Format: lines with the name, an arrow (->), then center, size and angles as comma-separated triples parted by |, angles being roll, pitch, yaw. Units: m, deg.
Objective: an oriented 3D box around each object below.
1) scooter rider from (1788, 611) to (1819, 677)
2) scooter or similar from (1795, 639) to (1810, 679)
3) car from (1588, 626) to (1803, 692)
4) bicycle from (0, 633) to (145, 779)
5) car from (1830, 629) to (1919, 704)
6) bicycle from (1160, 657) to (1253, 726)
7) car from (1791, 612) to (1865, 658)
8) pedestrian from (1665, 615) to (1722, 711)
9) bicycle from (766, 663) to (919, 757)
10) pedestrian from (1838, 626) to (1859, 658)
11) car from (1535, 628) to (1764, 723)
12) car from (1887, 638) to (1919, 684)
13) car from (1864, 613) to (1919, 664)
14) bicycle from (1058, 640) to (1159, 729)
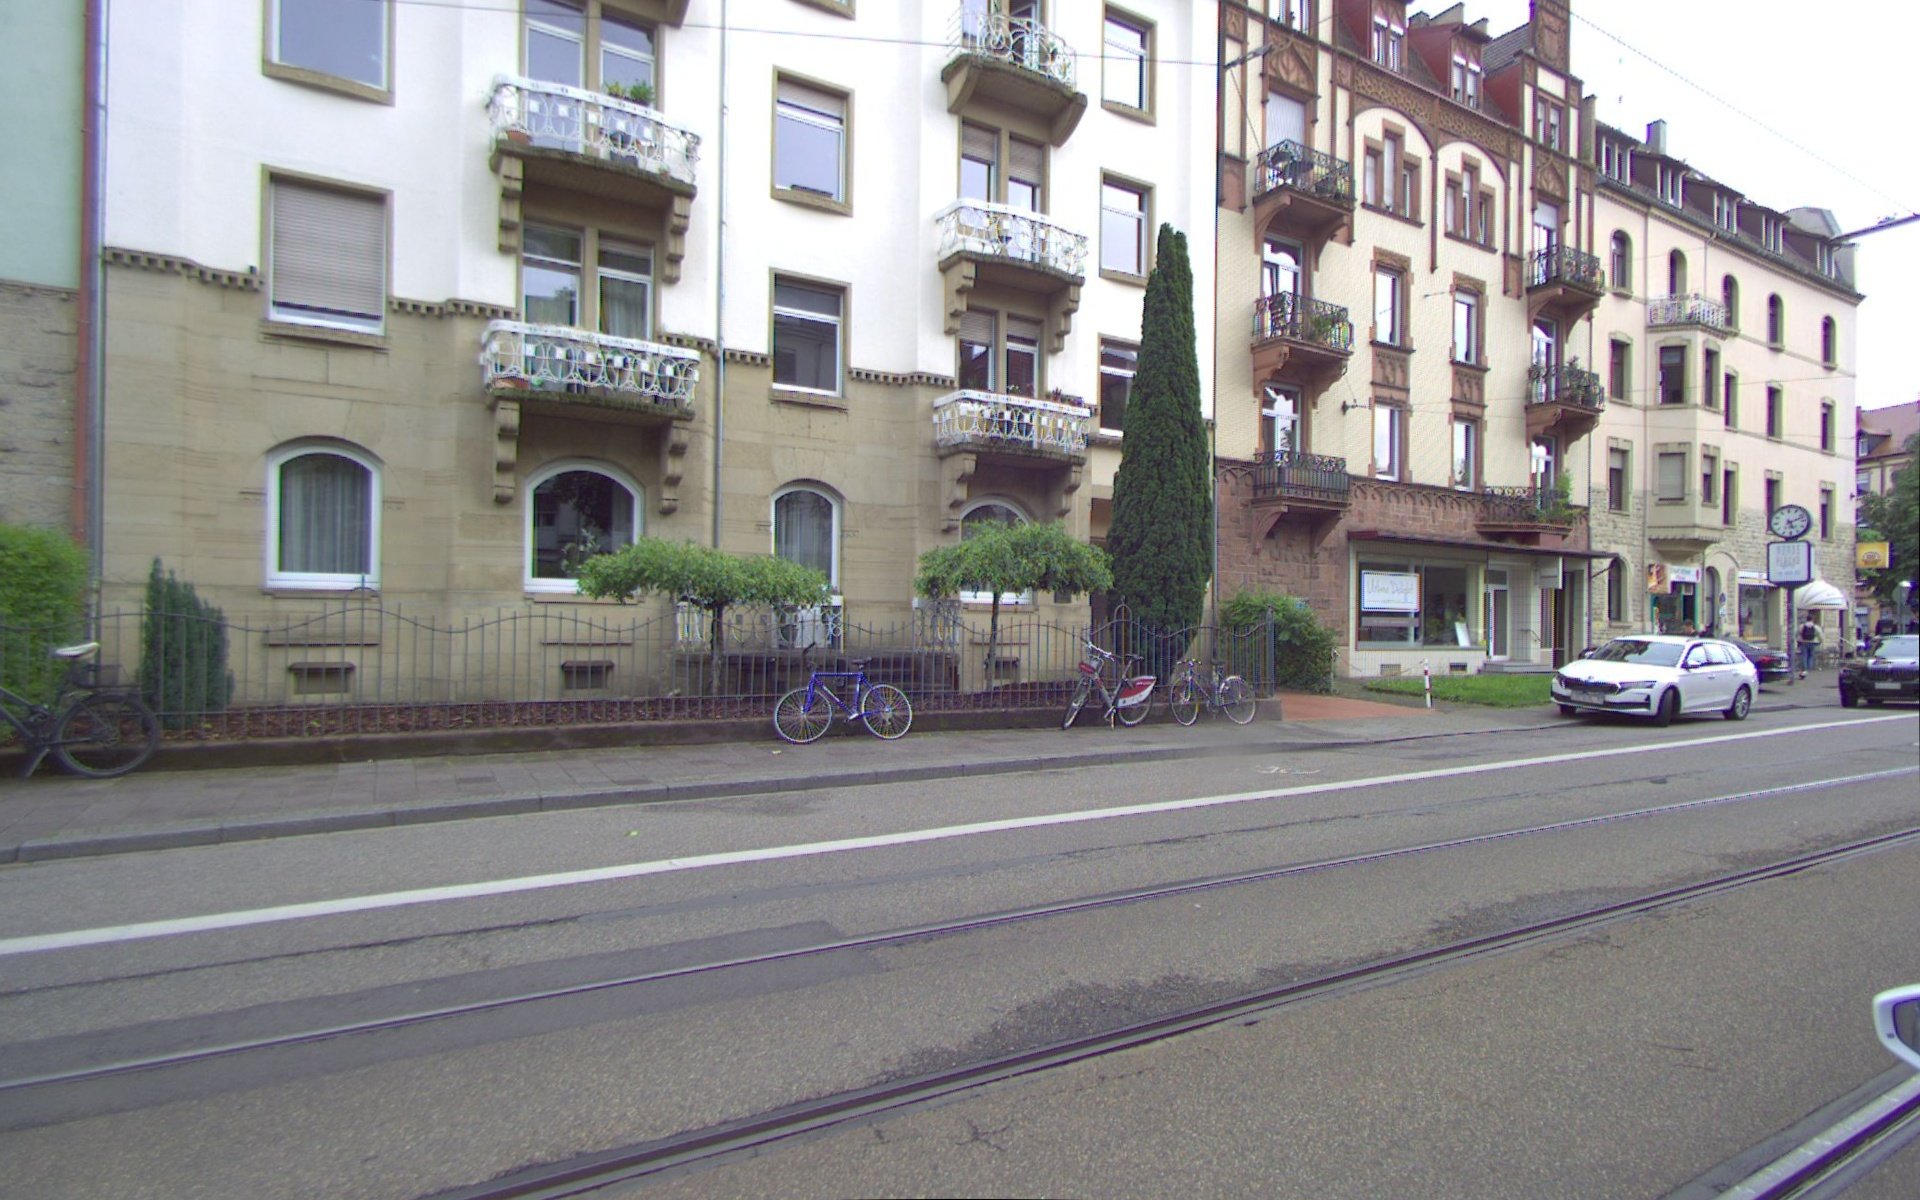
scooter rider -> 26.883, 1.392, 32.017 | 0.633, 2.040, 0.756 | 0, -1, 32
scooter or similar -> 26.816, 1.860, 31.989 | 0.228, 1.250, 0.951 | 0, -1, 32
car -> 20.226, 1.568, 27.811 | 1.861, 1.389, 4.397 | 2, 2, -34
bicycle -> -7.347, 0.812, 7.790 | 1.529, 1.098, 0.358 | 1, -1, -31
car -> 22.441, 1.538, 23.846 | 4.846, 1.632, 1.868 | 2, -4, -39
bicycle -> 3.586, 1.308, 14.565 | 1.498, 0.950, 0.330 | 2, -1, -31
car -> 51.688, 2.050, 59.967 | 2.146, 2.561, 5.373 | 1, -1, 28
pedestrian -> 14.723, 1.242, 20.164 | 0.872, 1.868, 0.664 | 1, -1, -31
bicycle -> -1.335, 1.241, 11.472 | 1.640, 0.938, 0.357 | 1, -19, -29
pedestrian -> 48.849, 2.301, 55.246 | 0.686, 1.738, 0.552 | 1, -1, 20
car -> 12.546, 1.298, 18.208 | 4.557, 1.504, 1.738 | 2, -1, -32
car -> 31.860, 1.994, 32.571 | 4.085, 1.380, 1.639 | 2, 2, -33
car -> 47.727, 1.919, 49.863 | 2.142, 2.449, 5.382 | 1, -1, 17
bicycle -> 1.993, 1.090, 13.323 | 1.613, 1.116, 0.381 | 2, -1, -42
